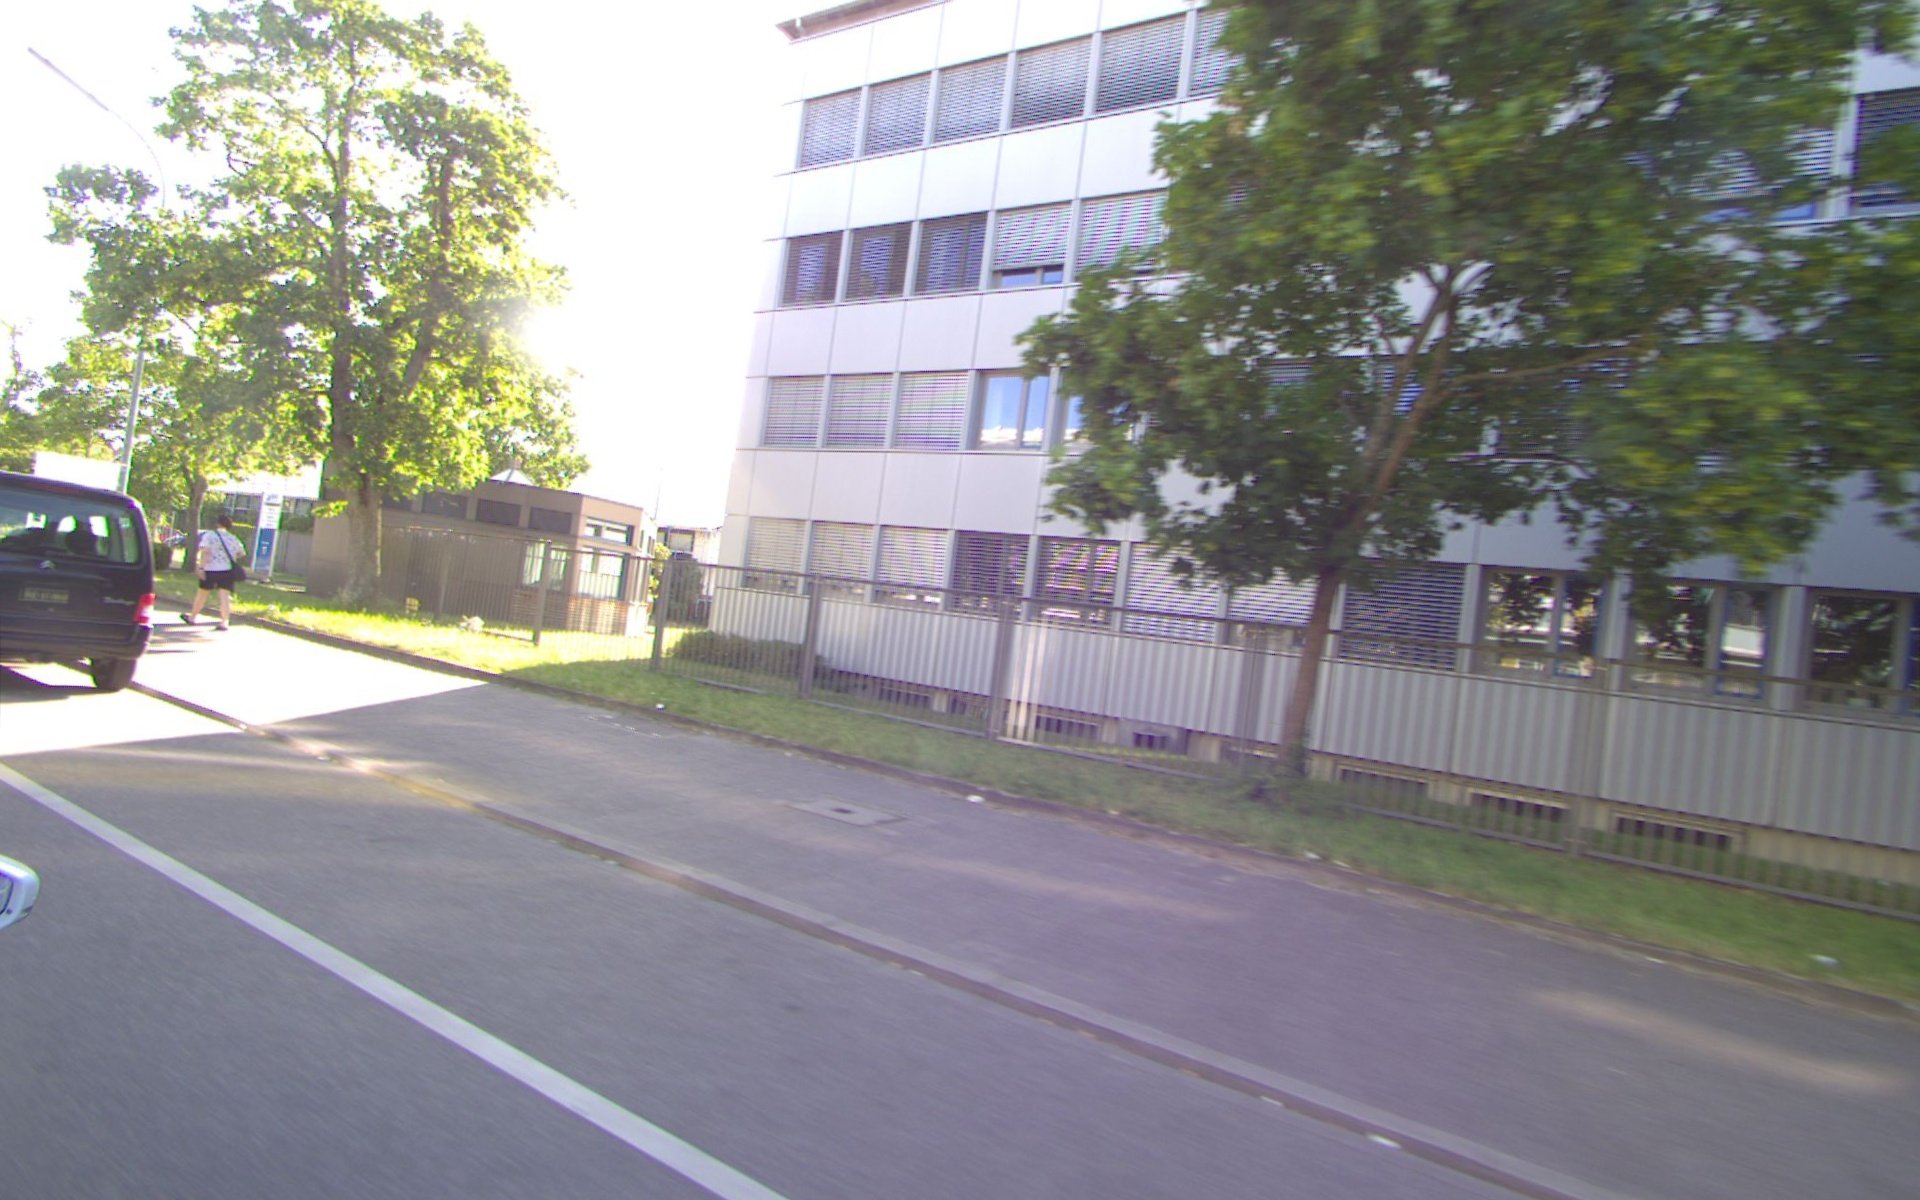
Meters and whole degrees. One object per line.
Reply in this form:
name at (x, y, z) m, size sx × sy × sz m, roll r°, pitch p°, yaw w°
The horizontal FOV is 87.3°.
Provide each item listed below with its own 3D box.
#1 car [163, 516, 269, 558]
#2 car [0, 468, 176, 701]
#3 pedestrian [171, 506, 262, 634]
car at (-37.513, -3.158, 50.826) m, size 1.646 × 1.395 × 3.898 m, roll 7°, pitch -2°, yaw 29°
car at (-9.370, -0.318, 9.398) m, size 4.224 × 1.814 × 1.706 m, roll 7°, pitch -3°, yaw 32°
pedestrian at (-10.864, -0.436, 14.708) m, size 0.763 × 1.750 × 0.692 m, roll 7°, pitch 0°, yaw 31°
